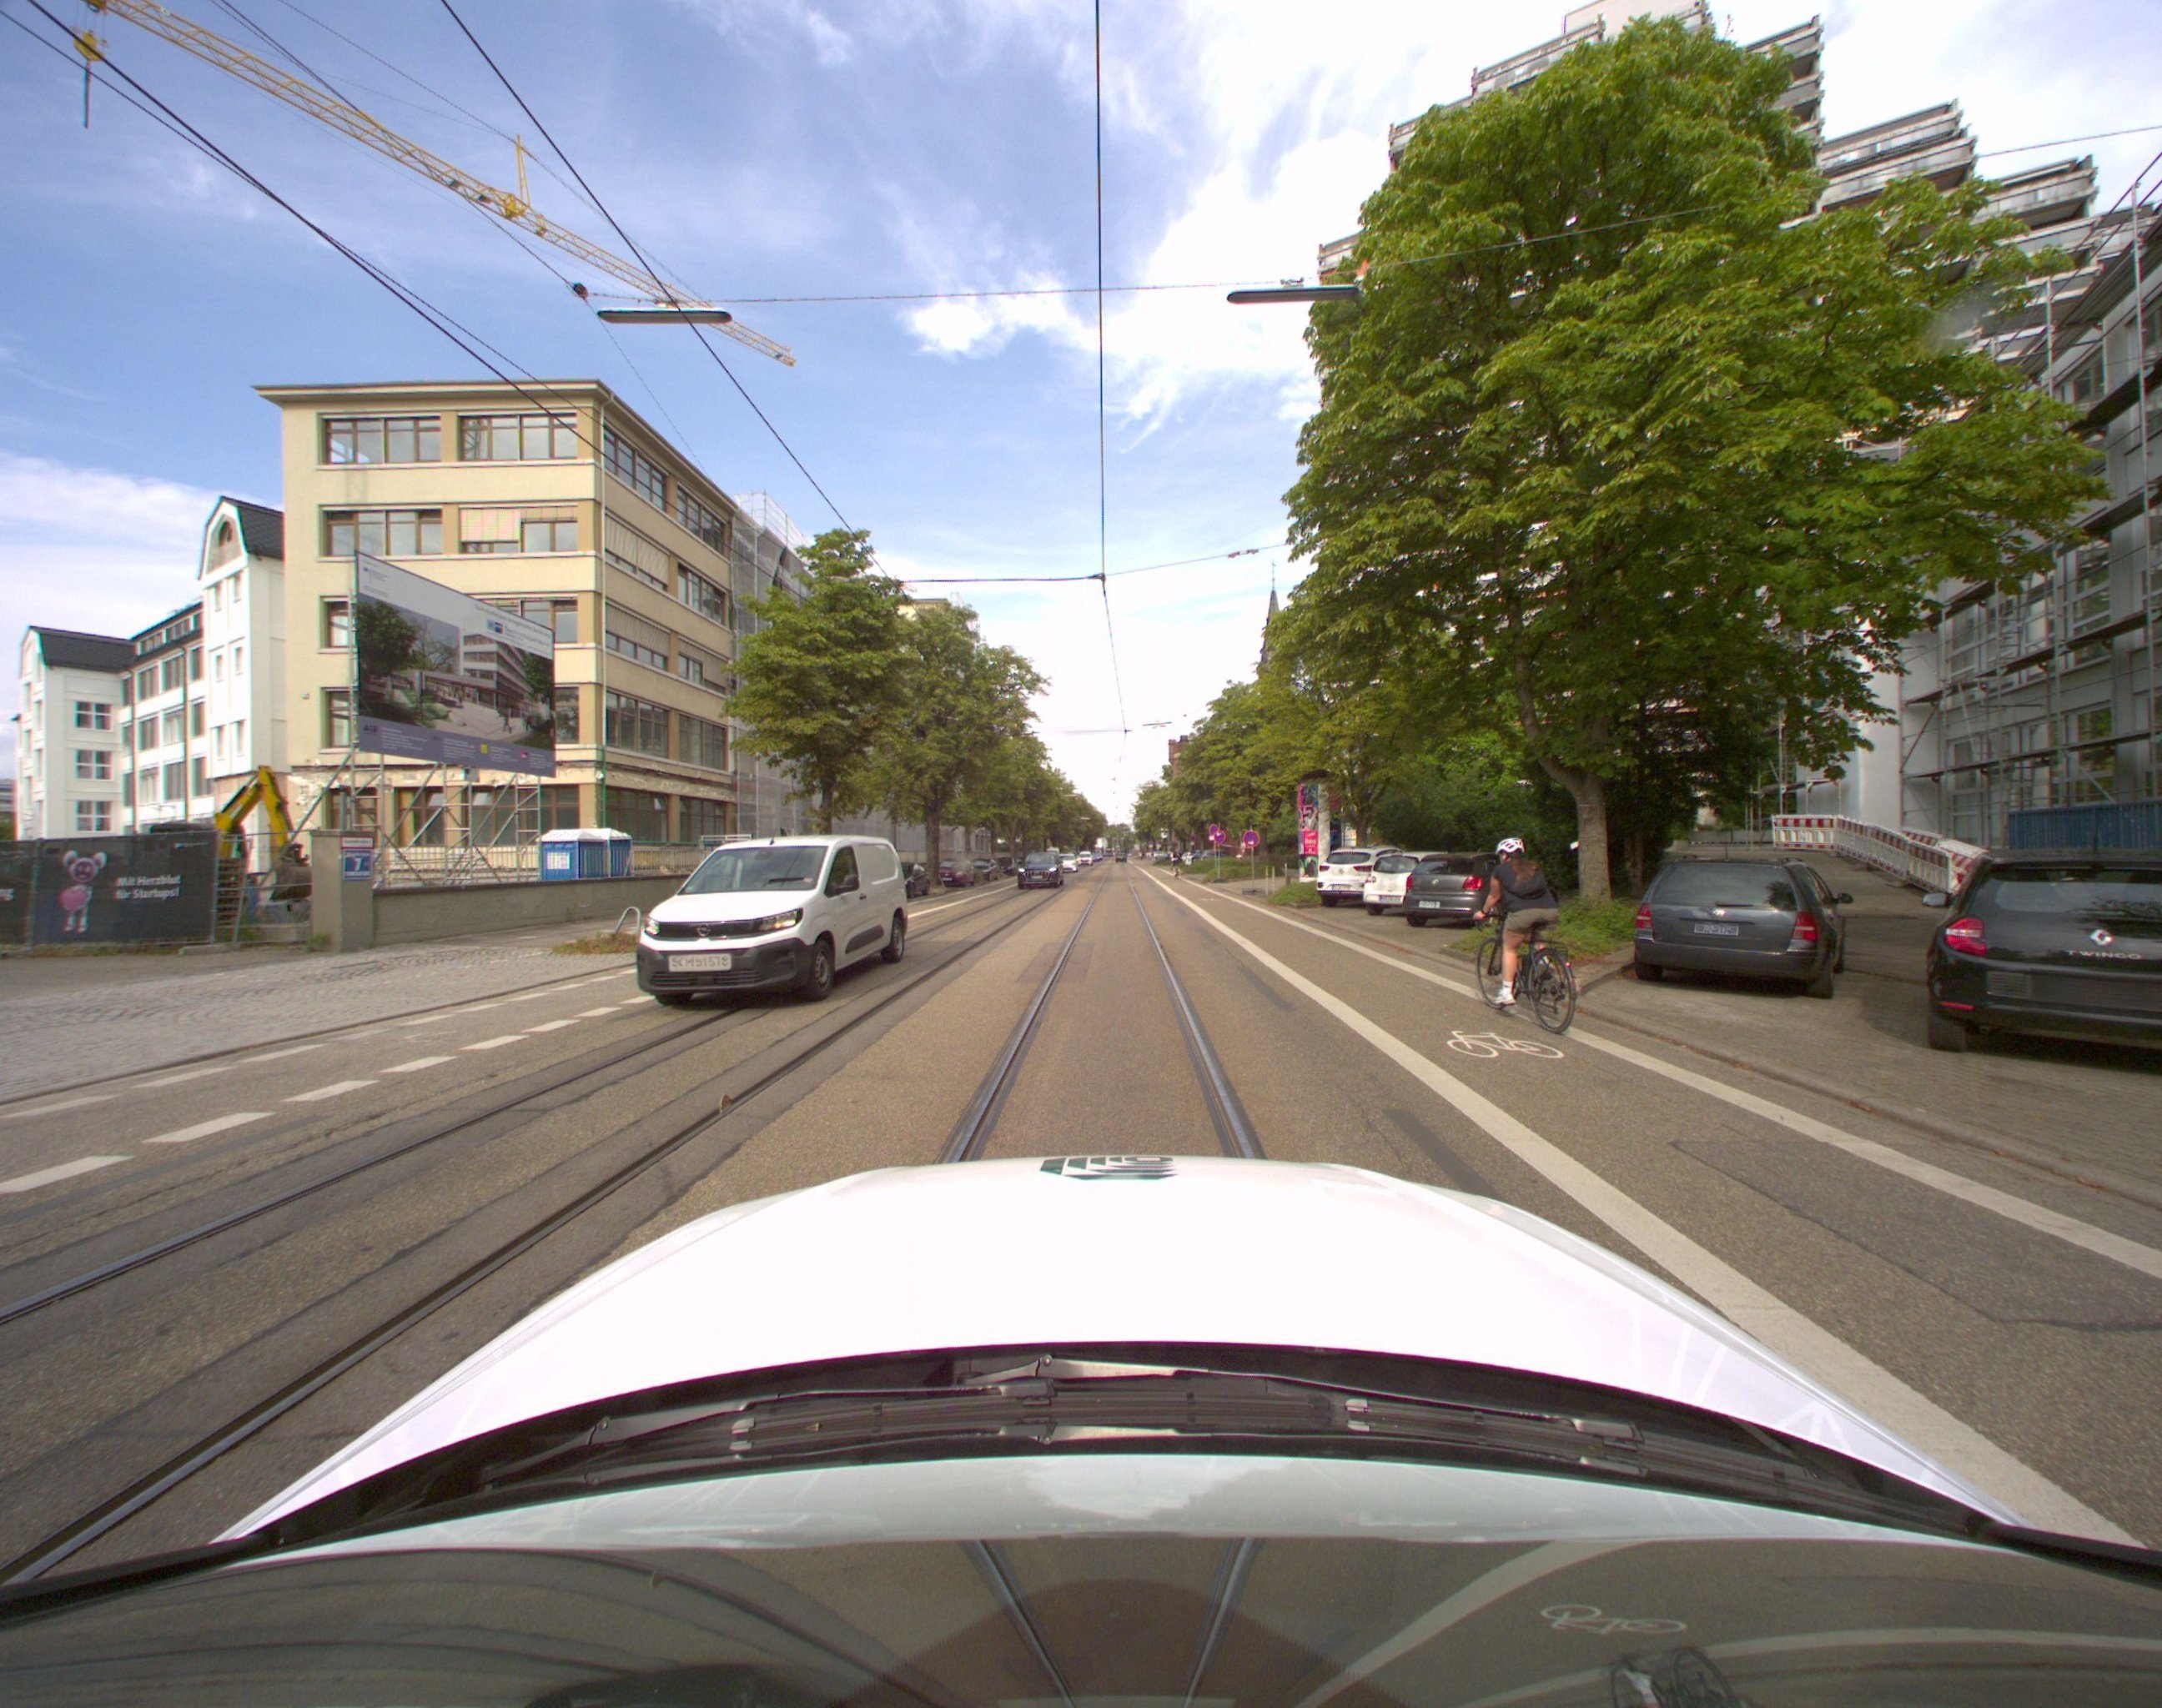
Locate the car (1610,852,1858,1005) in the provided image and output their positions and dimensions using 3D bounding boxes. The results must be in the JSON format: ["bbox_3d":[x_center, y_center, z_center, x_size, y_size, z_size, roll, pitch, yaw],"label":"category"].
[{"bbox_3d":[7.885,0.702,9.676,4.194,1.415,1.794,0,-1,-45],"label":"car"}]

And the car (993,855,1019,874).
[{"bbox_3d":[-5.779,0.801,62.725,1.585,1.402,3.962,0,0,0],"label":"car"}]

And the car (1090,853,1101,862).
[{"bbox_3d":[2.542,0.563,137.640,1.725,1.496,4.381,-1,0,2],"label":"car"}]

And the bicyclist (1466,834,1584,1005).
[{"bbox_3d":[4.016,0.558,7.428,0.591,1.459,0.875,-1,0,0],"label":"bicyclist"}]

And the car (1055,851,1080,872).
[{"bbox_3d":[-1.031,0.596,66.007,1.725,1.612,4.337,-1,0,2],"label":"car"}]

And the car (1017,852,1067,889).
[{"bbox_3d":[-1.776,0.732,38.453,1.839,1.612,4.338,-1,0,4],"label":"car"}]

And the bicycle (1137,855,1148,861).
[{"bbox_3d":[12.561,0.893,166.942,2.260,1.189,0.771,-1,0,10],"label":"bicycle"}]

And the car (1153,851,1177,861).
[{"bbox_3d":[14.860,0.386,144.622,3.978,1.693,1.998,-1,0,-3],"label":"car"}]

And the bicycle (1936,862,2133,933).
[{"bbox_3d":[15.118,0.661,12.995,1.952,1.043,0.598,0,0,39],"label":"bicycle"}]

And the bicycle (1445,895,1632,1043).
[{"bbox_3d":[4.015,0.945,7.350,0.591,1.043,1.978,-1,0,0],"label":"bicycle"}]

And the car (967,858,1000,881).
[{"bbox_3d":[-6.234,0.951,52.415,1.585,1.402,3.962,0,0,0],"label":"car"}]

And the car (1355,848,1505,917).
[{"bbox_3d":[8.297,0.622,19.263,3.663,1.474,1.663,0,-1,-37],"label":"car"}]

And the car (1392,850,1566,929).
[{"bbox_3d":[8.026,0.639,16.339,3.663,1.419,1.663,0,-1,-37],"label":"car"}]

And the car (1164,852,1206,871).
[{"bbox_3d":[9.010,0.657,70.488,3.667,1.602,1.661,0,-1,-43],"label":"car"}]

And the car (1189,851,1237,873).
[{"bbox_3d":[9.999,0.592,61.512,3.667,1.602,1.661,0,-1,-43],"label":"car"}]

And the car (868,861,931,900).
[{"bbox_3d":[-7.170,1.017,32.563,1.585,1.402,3.962,0,0,0],"label":"car"}]

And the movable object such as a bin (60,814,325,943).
[{"bbox_3d":[-18.350,0.495,16.959,3.030,2.443,2.506,-1,-1,12],"label":"movable object such as a bin"}]

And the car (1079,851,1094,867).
[{"bbox_3d":[0.676,0.627,99.647,1.726,1.884,4.378,-1,0,0],"label":"car"}]

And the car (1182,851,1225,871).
[{"bbox_3d":[10.319,0.592,68.308,3.667,1.602,1.661,0,-1,-43],"label":"car"}]

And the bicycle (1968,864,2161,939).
[{"bbox_3d":[14.752,0.682,12.161,1.952,1.043,0.598,-1,0,30],"label":"bicycle"}]

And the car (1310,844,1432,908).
[{"bbox_3d":[8.053,0.560,22.488,3.667,1.602,1.661,0,-1,-43],"label":"car"}]

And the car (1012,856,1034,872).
[{"bbox_3d":[-5.174,0.866,73.016,1.585,1.402,3.962,0,0,0],"label":"car"}]

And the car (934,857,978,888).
[{"bbox_3d":[-6.553,0.943,43.109,1.629,1.496,3.964,0,0,2],"label":"car"}]

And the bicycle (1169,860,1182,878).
[{"bbox_3d":[5.603,0.888,48.278,0.661,1.043,1.842,-1,0,3],"label":"bicycle"}]

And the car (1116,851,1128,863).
[{"bbox_3d":[6.396,0.519,127.891,1.788,1.824,4.680,0,0,2],"label":"car"}]

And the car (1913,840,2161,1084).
[{"bbox_3d":[7.890,0.666,6.488,3.436,1.537,1.577,-1,0,-41],"label":"car"}]

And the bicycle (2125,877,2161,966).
[{"bbox_3d":[13.617,0.786,9.423,1.817,1.043,0.456,-2,-1,31],"label":"bicycle"}]

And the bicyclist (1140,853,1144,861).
[{"bbox_3d":[12.465,0.642,166.952,0.841,1.504,0.771,-1,0,10],"label":"bicyclist"}]

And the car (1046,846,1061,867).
[{"bbox_3d":[-3.580,0.288,106.822,1.715,2.704,5.470,0,0,0],"label":"car"}]

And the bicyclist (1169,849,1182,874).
[{"bbox_3d":[5.594,0.430,48.195,0.656,1.496,0.930,-1,0,3],"label":"bicyclist"}]

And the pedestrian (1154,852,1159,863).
[{"bbox_3d":[13.472,0.610,144.498,0.742,1.790,0.734,-1,-1,17],"label":"pedestrian"}]

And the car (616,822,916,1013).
[{"bbox_3d":[-3.513,0.606,10.184,1.788,1.824,4.680,0,0,2],"label":"car"}]
